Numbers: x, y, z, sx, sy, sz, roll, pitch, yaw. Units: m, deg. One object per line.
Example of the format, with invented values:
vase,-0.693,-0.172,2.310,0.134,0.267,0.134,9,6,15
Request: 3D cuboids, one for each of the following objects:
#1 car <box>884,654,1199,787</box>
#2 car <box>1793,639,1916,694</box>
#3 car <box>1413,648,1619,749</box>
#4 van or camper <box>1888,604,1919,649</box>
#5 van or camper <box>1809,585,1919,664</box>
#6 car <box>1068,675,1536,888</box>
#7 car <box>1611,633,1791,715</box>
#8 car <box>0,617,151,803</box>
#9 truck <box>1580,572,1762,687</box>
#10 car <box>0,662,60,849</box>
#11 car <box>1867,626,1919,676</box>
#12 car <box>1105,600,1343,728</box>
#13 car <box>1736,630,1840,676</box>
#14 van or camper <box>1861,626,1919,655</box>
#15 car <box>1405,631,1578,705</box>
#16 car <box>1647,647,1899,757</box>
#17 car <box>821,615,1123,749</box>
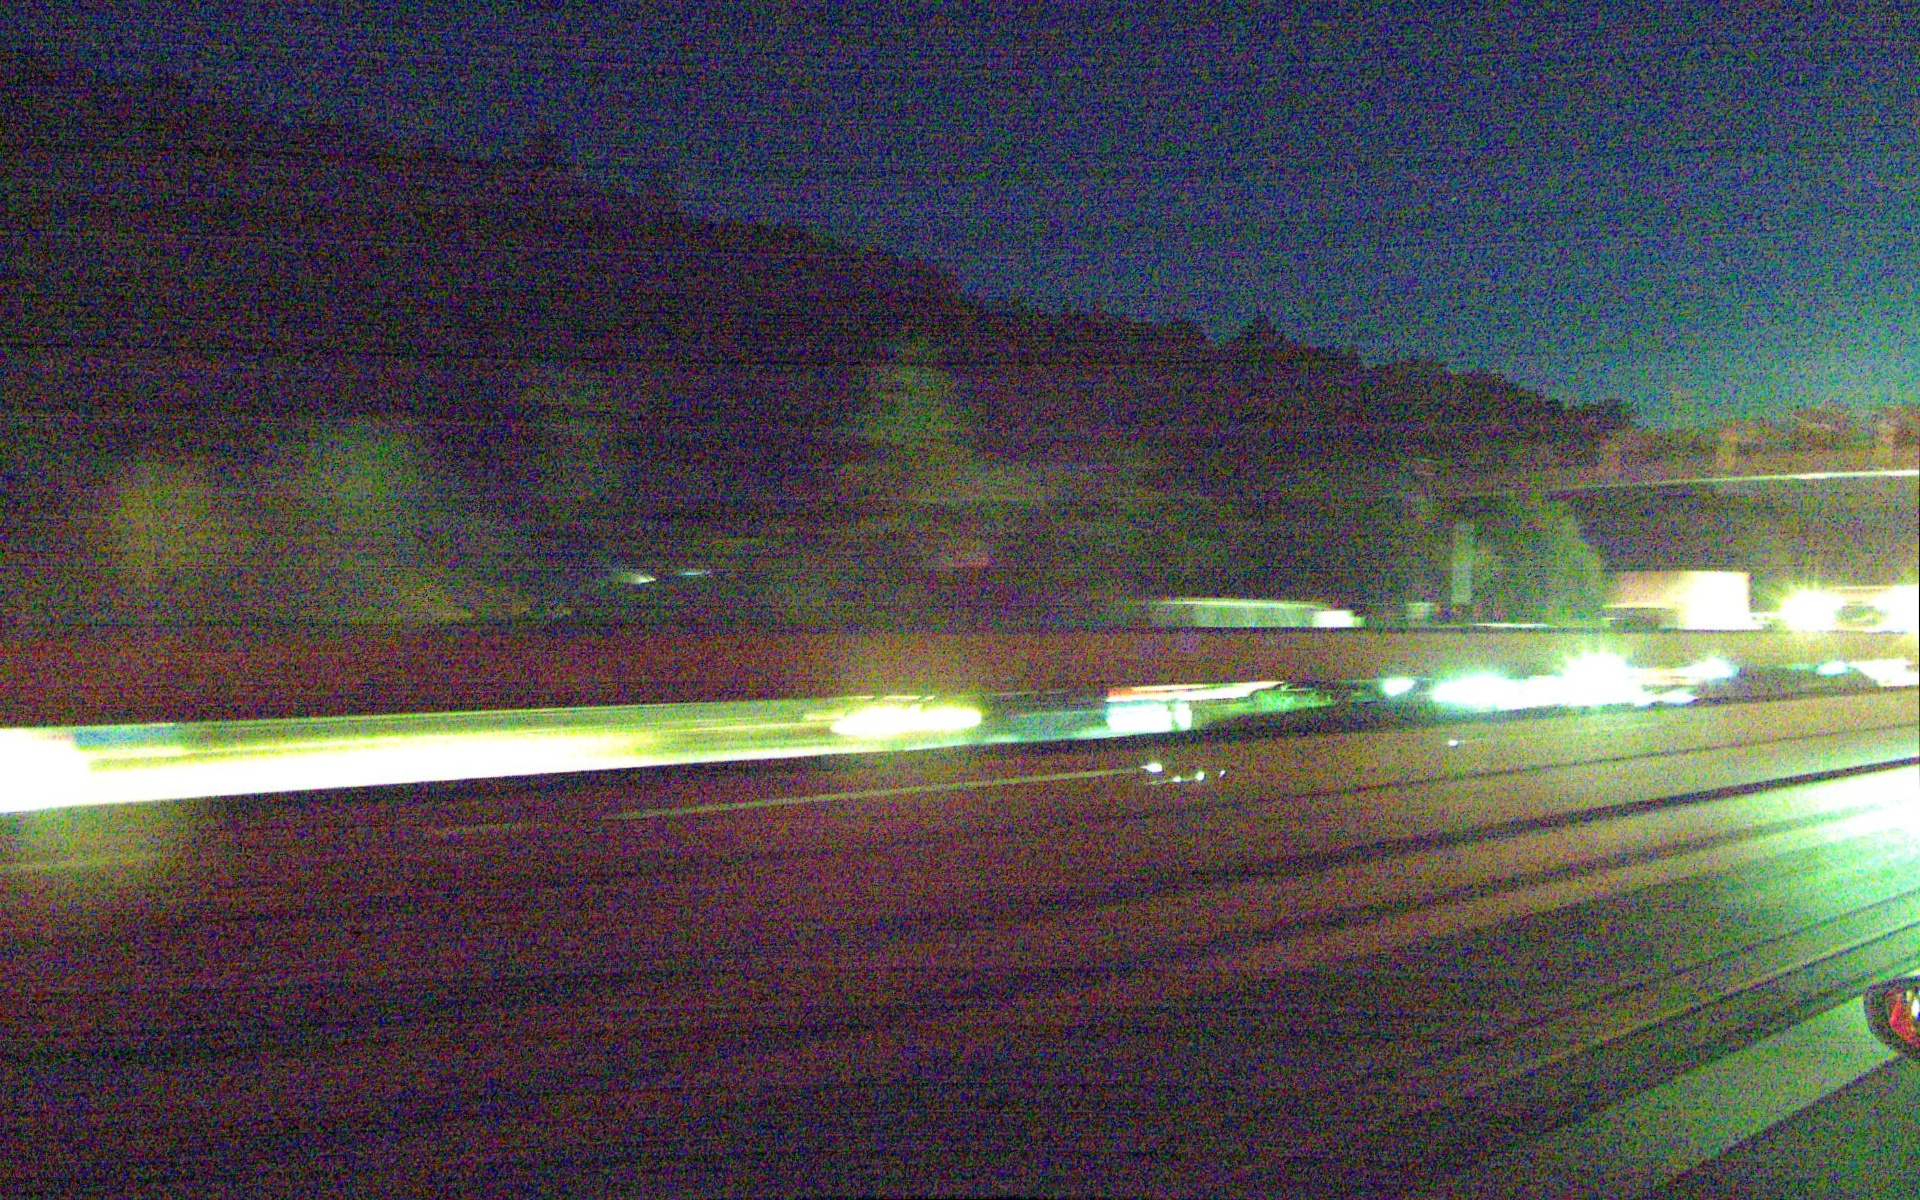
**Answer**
car,1.135,1.507,13.489,4.024,1.499,1.599,1,-2,-29
car,24.740,1.788,27.751,4.175,1.353,1.524,1,-1,-33
car,10.897,1.844,19.657,3.952,1.766,1.731,1,-2,-29
van or camper,60.676,1.605,63.322,6.553,2.692,1.980,0,0,-36
van or camper,37.681,0.963,41.435,7.048,3.043,2.209,0,0,-34
car,3.367,1.521,9.574,4.583,1.372,1.745,1,-1,-32
car,17.287,1.648,23.384,4.406,1.682,1.982,1,-1,-33
car,-11.671,1.133,10.647,4.511,1.948,1.831,2,-3,-31
truck,22.806,0.955,32.055,7.647,3.303,2.360,2,-2,-36
car,-9.672,1.226,7.691,3.796,1.471,1.740,2,-3,-30
car,30.802,1.607,32.070,4.315,1.502,1.632,1,-1,-32
car,5.328,1.196,20.149,4.512,2.297,2.120,1,-2,-32
car,29.877,1.861,36.228,4.389,1.560,1.632,1,-1,-33
van or camper,56.019,2.384,59.927,5.161,1.570,2.209,0,0,-34
car,13.383,1.655,25.249,4.341,1.722,1.852,1,-2,-30
car,12.553,1.464,15.452,4.244,1.372,1.745,1,-1,-32
car,0.300,1.292,17.135,4.935,1.985,1.982,2,-2,-34
